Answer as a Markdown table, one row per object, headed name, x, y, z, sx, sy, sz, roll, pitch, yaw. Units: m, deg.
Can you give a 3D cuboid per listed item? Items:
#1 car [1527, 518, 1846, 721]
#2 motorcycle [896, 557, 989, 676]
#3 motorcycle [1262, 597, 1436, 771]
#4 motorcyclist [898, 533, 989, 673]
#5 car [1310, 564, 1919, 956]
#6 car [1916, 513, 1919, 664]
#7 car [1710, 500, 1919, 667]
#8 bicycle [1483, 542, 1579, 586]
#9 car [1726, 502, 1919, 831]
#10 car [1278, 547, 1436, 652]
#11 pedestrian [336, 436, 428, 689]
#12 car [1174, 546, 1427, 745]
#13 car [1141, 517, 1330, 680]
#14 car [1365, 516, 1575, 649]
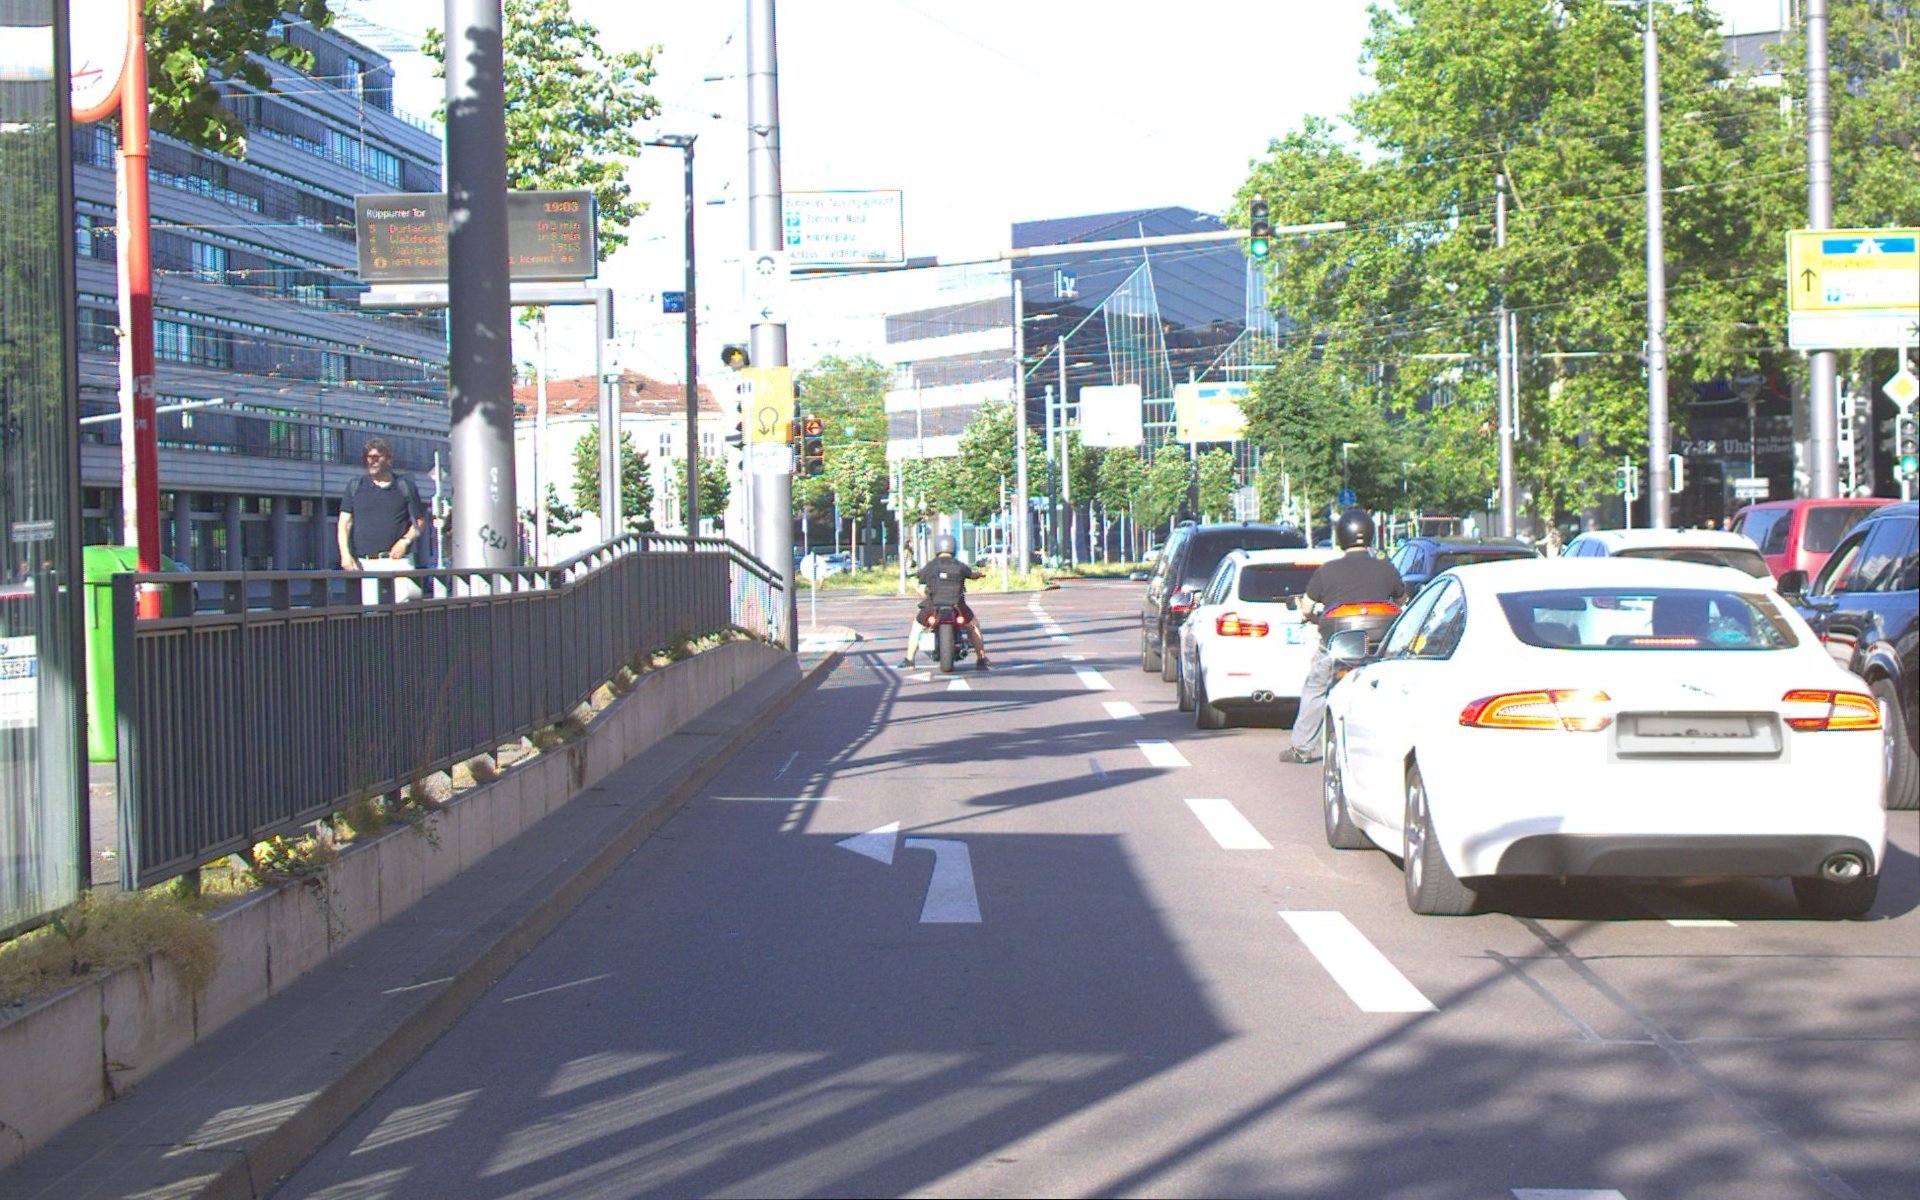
| name | x | y | z | sx | sy | sz | roll | pitch | yaw |
| --- | --- | --- | --- | --- | --- | --- | --- | --- | --- |
| car | 6.209 | 0.123 | 29.858 | 1.851 | 1.634 | 4.379 | 0 | 1 | 0 |
| motorcycle | -0.187 | 0.169 | 40.191 | 1.019 | 1.307 | 2.914 | 1 | 1 | 1 |
| motorcycle | 2.600 | 0.537 | 23.267 | 0.837 | 1.058 | 2.553 | -1 | 1 | -1 |
| motorcyclist | -0.190 | 0.024 | 40.243 | 1.019 | 1.598 | 1.148 | 1 | 1 | 1 |
| car | 2.691 | 0.573 | 15.228 | 1.780 | 1.409 | 4.819 | 1 | 1 | 0 |
| car | 10.757 | -0.072 | 33.066 | 1.846 | 1.555 | 4.632 | 1 | 1 | 1 |
| car | 10.645 | -0.223 | 42.691 | 1.860 | 1.954 | 4.000 | -1 | 1 | 2 |
| bicycle | 16.510 | -1.042 | 99.401 | 2.694 | 1.240 | 0.527 | 0 | 1 | 24 |
| car | 6.089 | 0.340 | 20.602 | 1.975 | 1.753 | 4.632 | 1 | 1 | 1 |
| car | 5.845 | -0.042 | 51.053 | 1.851 | 1.492 | 4.379 | 0 | 1 | 0 |
| pedestrian | -3.856 | -0.251 | 22.960 | 0.519 | 1.663 | 0.550 | 0 | 1 | 1 |
| car | 2.746 | 0.316 | 28.575 | 1.693 | 1.491 | 4.409 | 1 | 1 | 1 |
| car | 2.979 | -0.045 | 37.854 | 1.798 | 1.699 | 4.063 | 0 | 1 | 1 |
| car | 5.968 | -0.235 | 40.680 | 1.851 | 1.492 | 4.379 | 0 | 1 | 0 |
